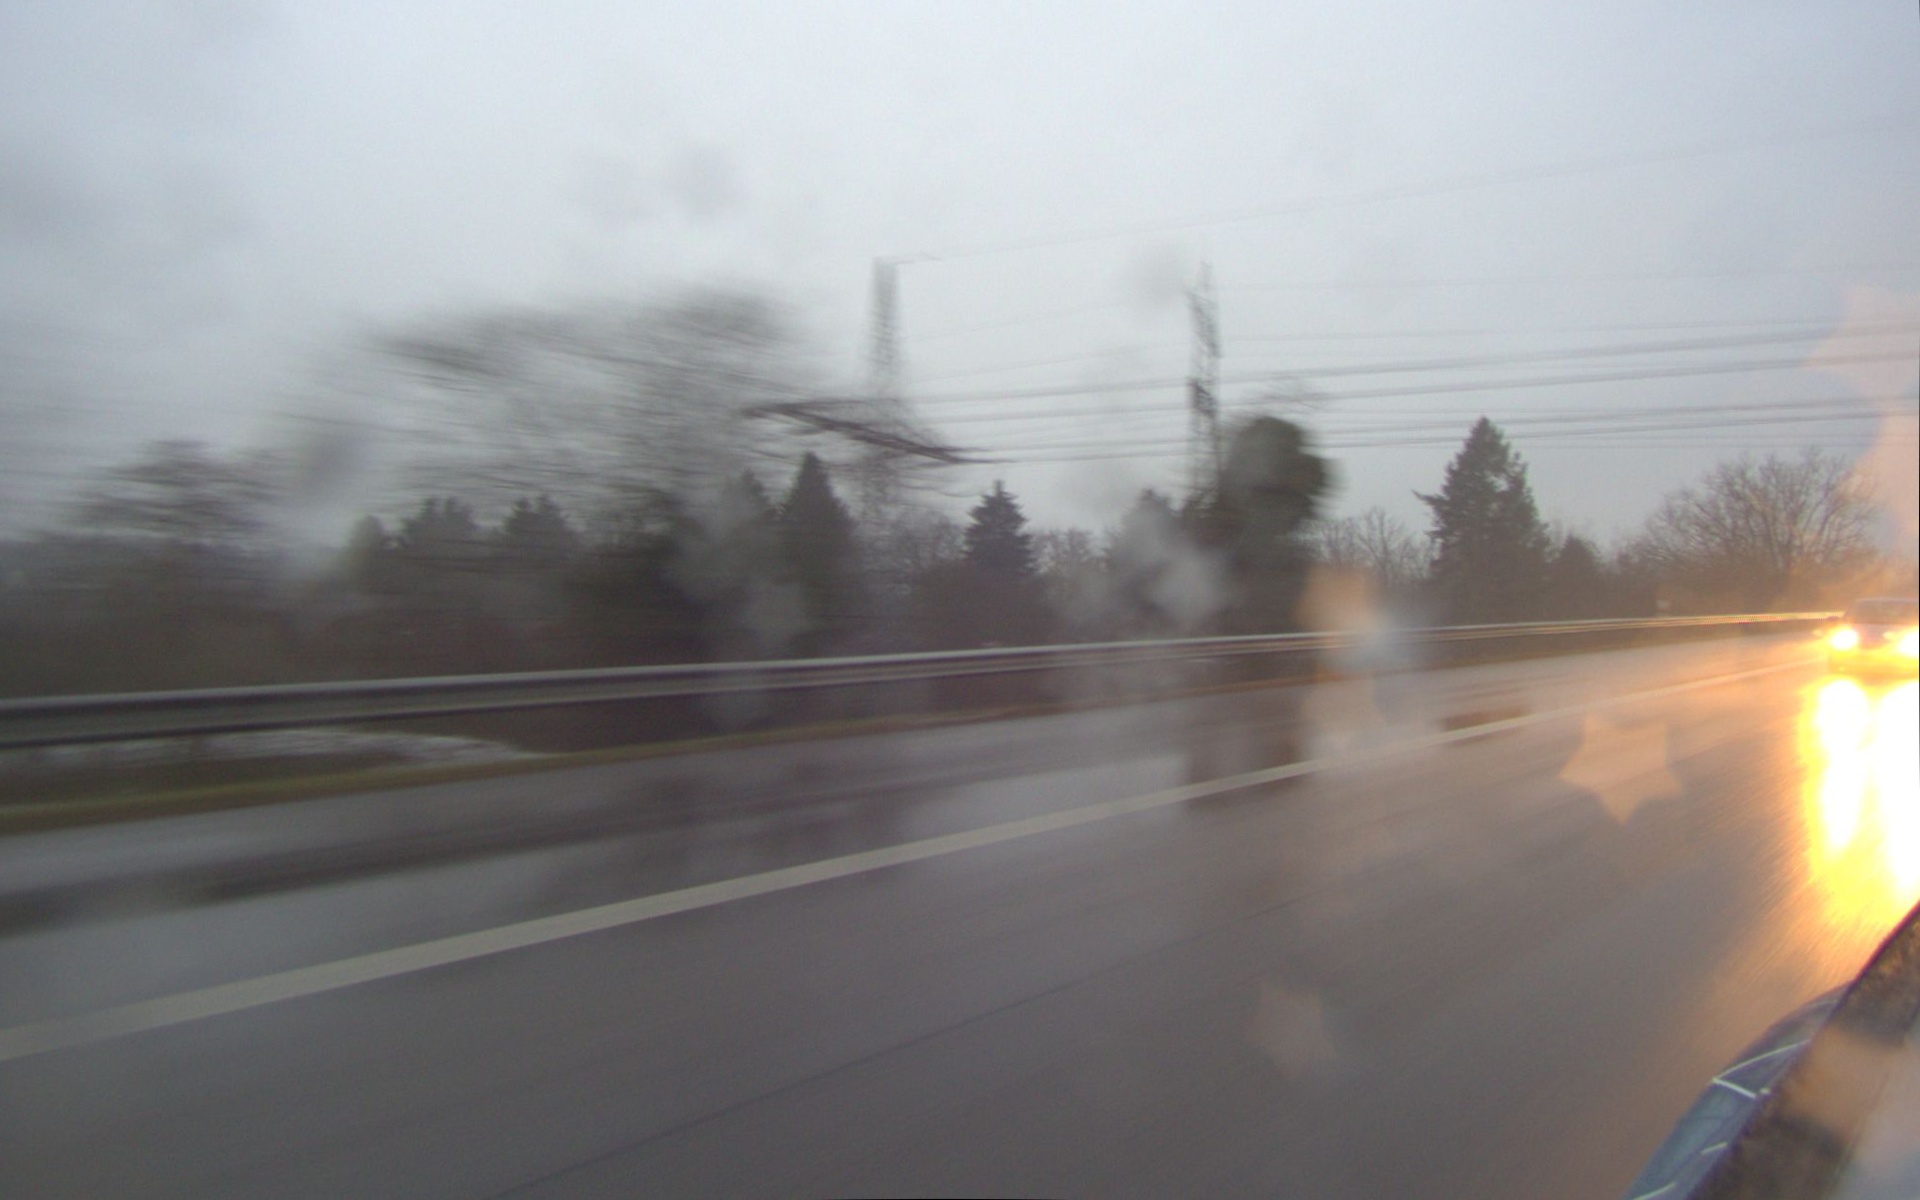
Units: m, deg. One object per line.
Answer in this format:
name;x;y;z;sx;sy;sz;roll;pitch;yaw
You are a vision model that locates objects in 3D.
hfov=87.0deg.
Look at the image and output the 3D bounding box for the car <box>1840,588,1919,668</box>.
car;19.306;0.522;20.542;3.930;1.493;1.631;0;1;-41
